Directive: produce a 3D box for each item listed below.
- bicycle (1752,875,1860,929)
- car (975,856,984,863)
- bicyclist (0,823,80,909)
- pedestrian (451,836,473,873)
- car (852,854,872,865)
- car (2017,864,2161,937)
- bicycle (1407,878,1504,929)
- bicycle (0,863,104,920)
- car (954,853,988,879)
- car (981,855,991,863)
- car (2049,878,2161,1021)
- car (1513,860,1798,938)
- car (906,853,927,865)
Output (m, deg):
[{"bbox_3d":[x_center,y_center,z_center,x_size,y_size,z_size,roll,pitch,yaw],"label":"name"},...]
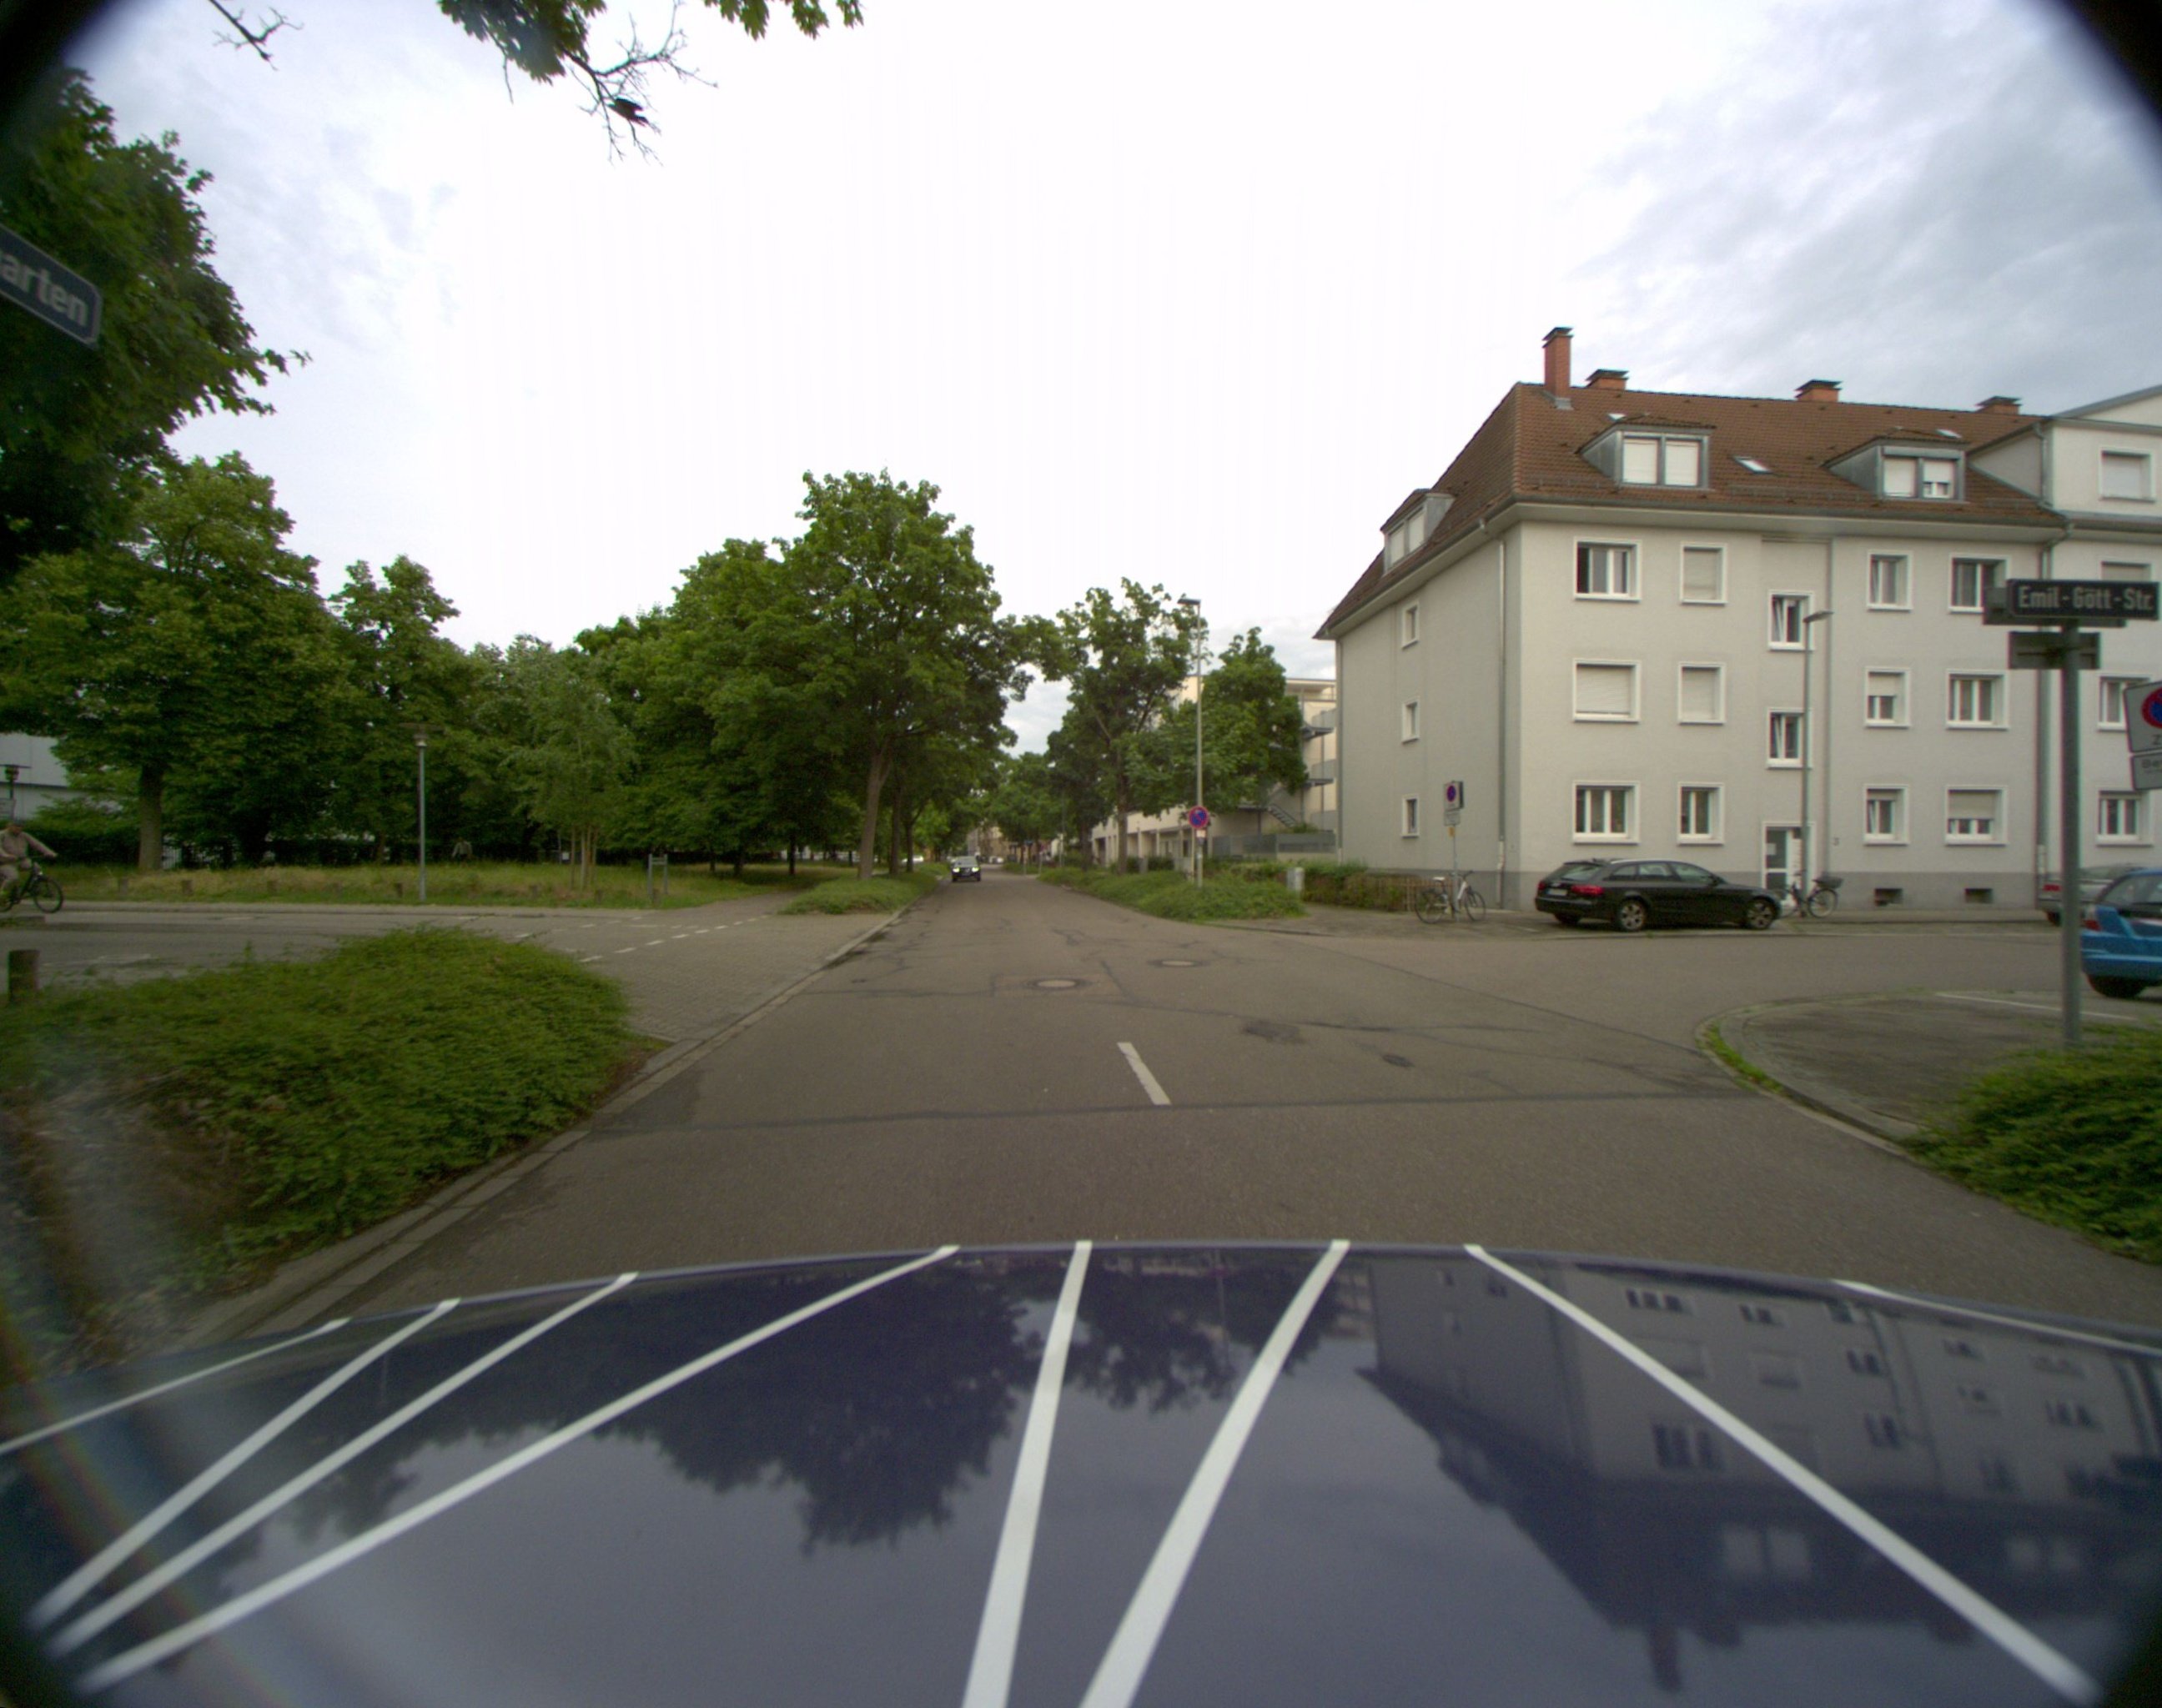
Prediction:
[{"bbox_3d":[17.051,1.123,17.883,1.895,1.194,0.750,0,2,-6],"label":"bicycle"},{"bbox_3d":[-24.669,1.315,185.061,1.786,1.849,3.657,1,0,-14],"label":"car"},{"bbox_3d":[-20.771,0.229,14.893,0.923,1.635,1.020,1,0,-4],"label":"bicyclist"},{"bbox_3d":[-29.800,0.016,36.573,0.543,1.787,0.573,1,0,5],"label":"pedestrian"},{"bbox_3d":[-37.510,0.980,130.257,3.316,1.913,1.809,-1,0,-16],"label":"car"},{"bbox_3d":[23.675,0.983,16.751,4.430,1.454,1.737,0,1,-8],"label":"car"},{"bbox_3d":[8.194,1.079,16.650,1.888,0.998,0.569,-2,3,-6],"label":"bicycle"},{"bbox_3d":[-20.830,0.722,14.872,2.141,1.068,0.869,1,0,-4],"label":"bicycle"},{"bbox_3d":[-7.270,0.781,50.467,1.999,1.478,4.536,-1,2,-6],"label":"car"},{"bbox_3d":[-21.932,1.236,174.863,1.786,1.754,3.657,1,0,-14],"label":"car"},{"bbox_3d":[12.970,0.978,7.894,3.956,1.453,1.736,0,-2,-6],"label":"car"},{"bbox_3d":[11.742,0.877,15.690,4.725,1.454,1.865,0,1,-8],"label":"car"},{"bbox_3d":[-28.711,0.861,132.456,3.316,1.913,1.809,-1,0,-16],"label":"car"}]
